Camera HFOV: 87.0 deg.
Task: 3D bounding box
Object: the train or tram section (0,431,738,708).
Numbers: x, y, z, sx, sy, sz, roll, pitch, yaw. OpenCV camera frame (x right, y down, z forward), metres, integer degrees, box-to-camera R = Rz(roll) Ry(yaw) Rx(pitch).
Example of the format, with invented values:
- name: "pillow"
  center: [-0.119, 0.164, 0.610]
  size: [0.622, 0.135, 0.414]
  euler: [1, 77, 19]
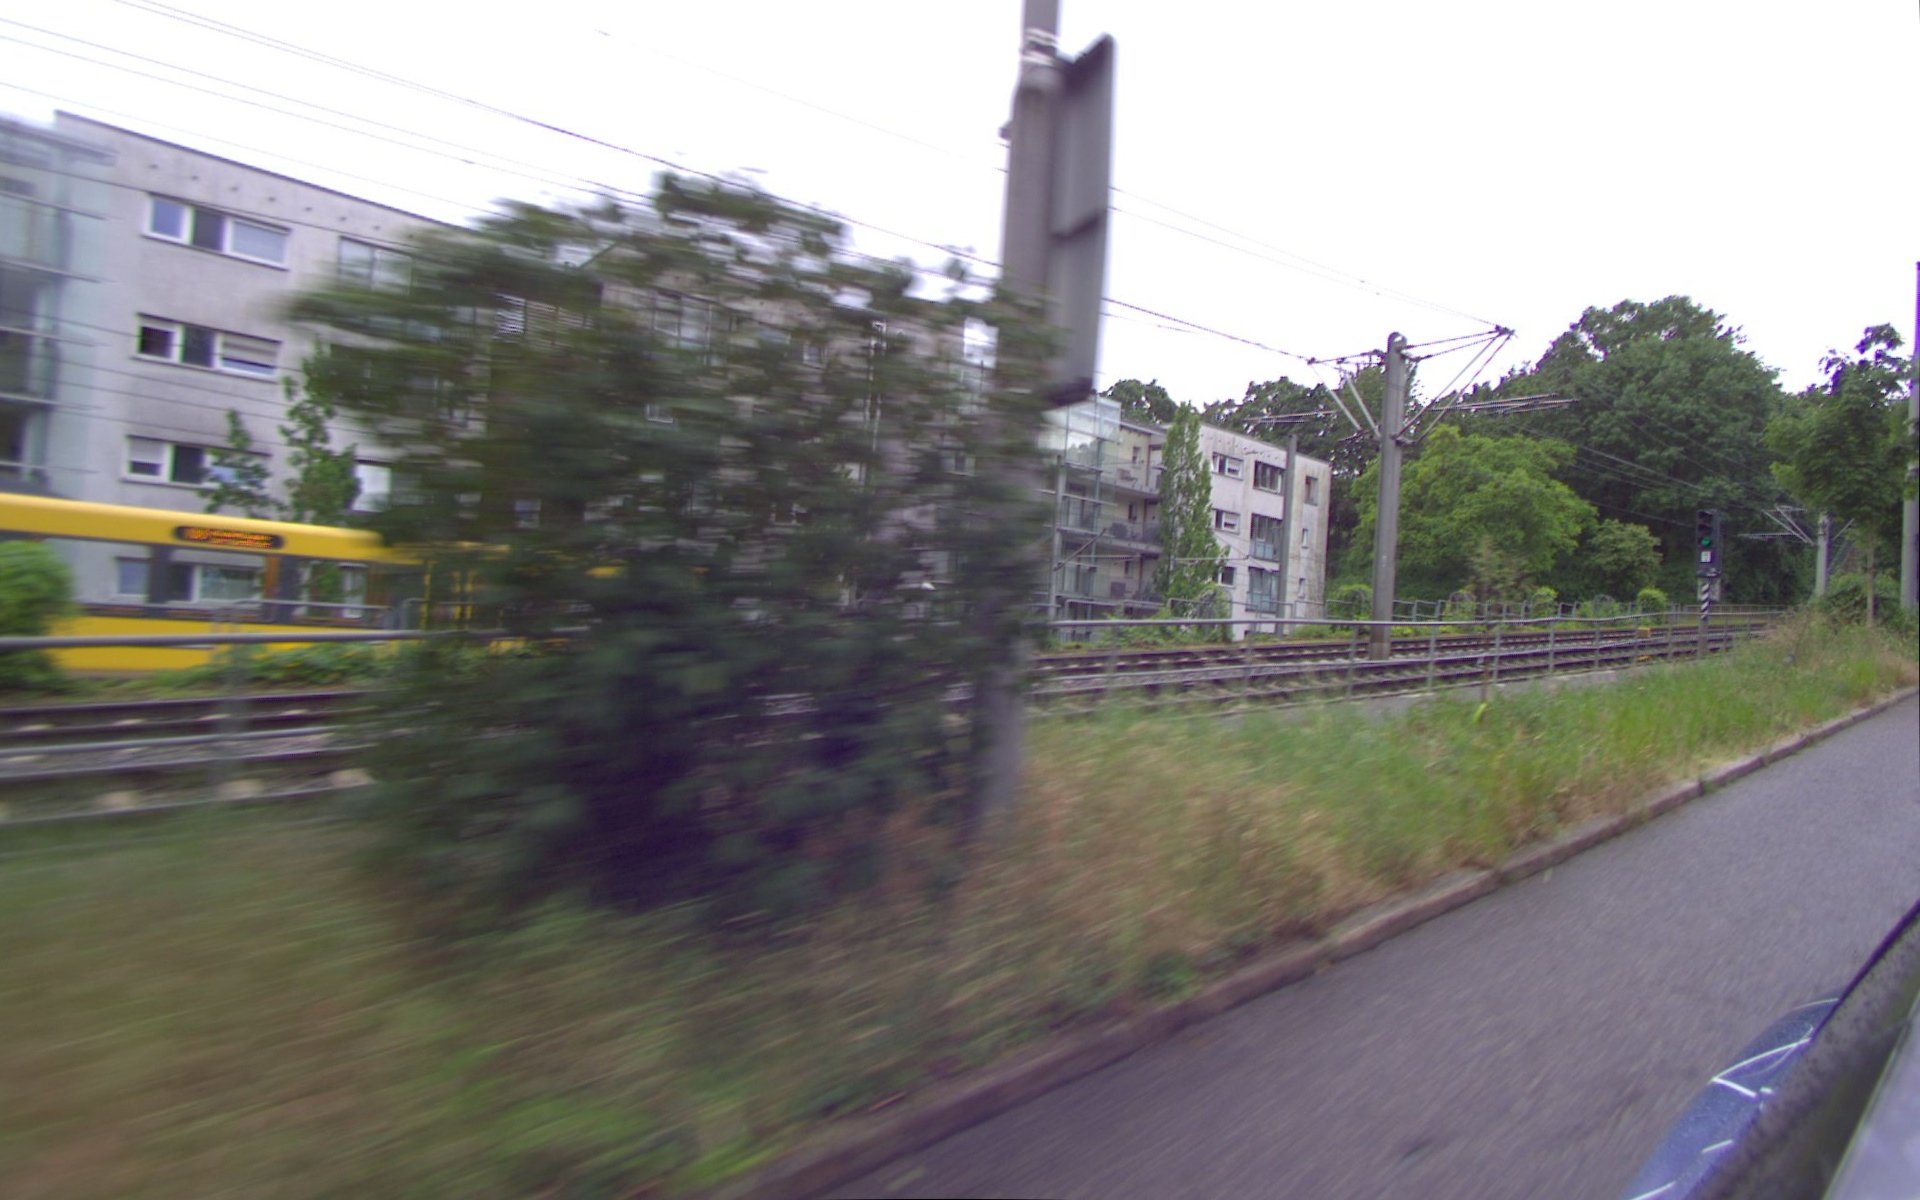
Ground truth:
- name: "train or tram section"
  center: [-13.162, -0.440, 17.344]
  size: [18.941, 3.997, 3.337]
  euler: [1, 0, -41]
